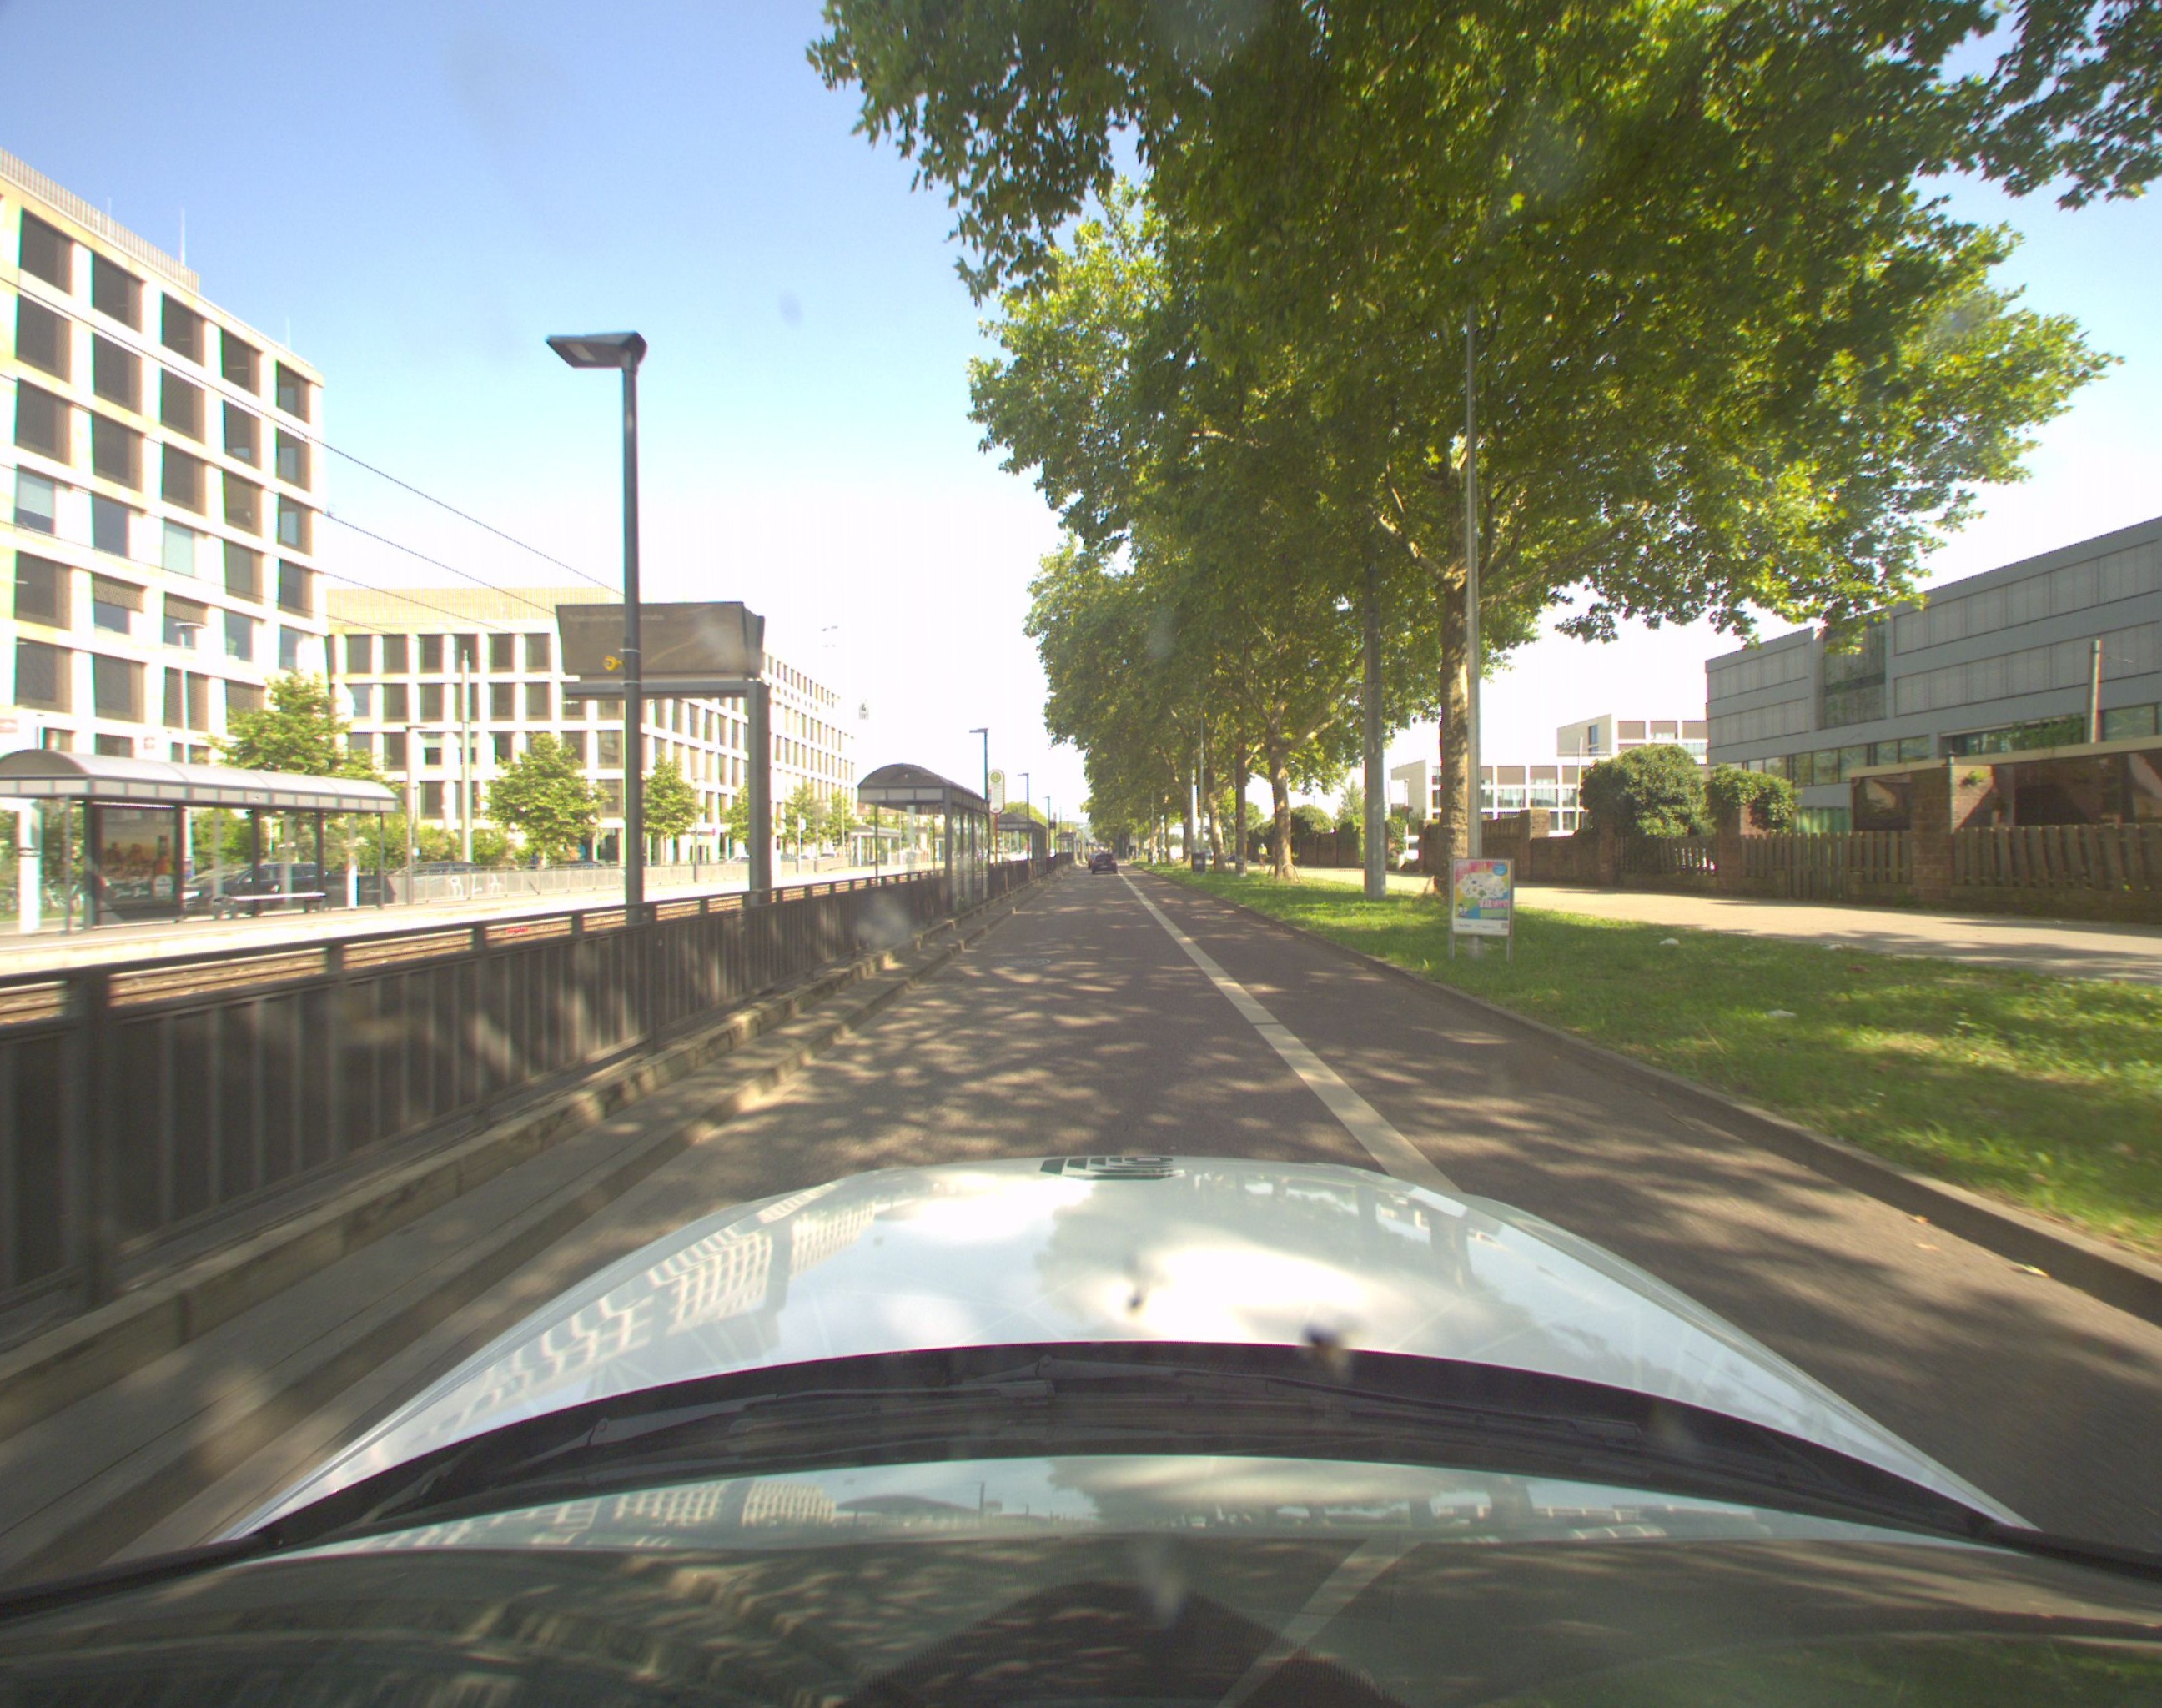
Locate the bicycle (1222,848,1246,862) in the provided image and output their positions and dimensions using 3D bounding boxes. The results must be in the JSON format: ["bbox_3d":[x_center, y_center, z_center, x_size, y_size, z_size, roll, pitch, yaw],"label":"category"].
[{"bbox_3d":[15.950,0.088,84.864,2.236,1.277,0.999,-3,-1,0],"label":"bicycle"}]

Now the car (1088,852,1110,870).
[{"bbox_3d":[1.653,0.626,76.516,1.967,1.537,4.000,-4,0,0],"label":"car"}]

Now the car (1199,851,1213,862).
[{"bbox_3d":[18.504,0.315,120.663,1.602,1.575,3.798,-2,0,2],"label":"car"}]

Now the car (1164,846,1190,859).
[{"bbox_3d":[15.588,-0.242,132.847,4.085,1.918,1.850,-2,0,4],"label":"car"}]

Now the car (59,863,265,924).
[{"bbox_3d":[-24.428,1.002,21.851,1.549,1.428,3.503,-1,0,-1],"label":"car"}]

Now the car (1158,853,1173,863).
[{"bbox_3d":[12.397,0.589,119.543,1.721,1.448,4.552,-2,0,2],"label":"car"}]

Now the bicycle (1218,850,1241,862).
[{"bbox_3d":[15.225,0.188,83.374,2.163,1.076,0.744,-3,0,4],"label":"bicycle"}]

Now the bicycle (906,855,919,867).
[{"bbox_3d":[-15.714,0.663,75.932,0.467,1.147,1.490,-1,0,16],"label":"bicycle"}]

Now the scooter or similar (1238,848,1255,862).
[{"bbox_3d":[15.455,0.107,76.037,1.498,1.191,0.539,-2,-1,5],"label":"scooter or similar"}]

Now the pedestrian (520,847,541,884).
[{"bbox_3d":[-30.961,0.658,45.806,0.561,2.014,0.822,-4,-1,1],"label":"pedestrian"}]

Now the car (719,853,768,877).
[{"bbox_3d":[-24.133,0.759,58.445,1.758,1.574,4.131,-2,0,0],"label":"car"}]

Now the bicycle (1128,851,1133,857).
[{"bbox_3d":[9.031,0.055,148.473,0.609,1.022,2.400,-1,0,-3],"label":"bicycle"}]

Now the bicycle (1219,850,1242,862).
[{"bbox_3d":[15.114,0.242,82.559,2.163,1.076,0.744,-3,0,4],"label":"bicycle"}]

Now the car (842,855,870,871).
[{"bbox_3d":[-23.641,0.893,85.560,1.758,1.603,4.131,-2,0,0],"label":"car"}]

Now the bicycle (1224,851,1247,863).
[{"bbox_3d":[15.254,0.300,80.346,2.167,1.076,0.743,-1,0,-1],"label":"bicycle"}]

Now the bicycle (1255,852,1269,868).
[{"bbox_3d":[11.614,0.401,52.372,0.546,1.007,1.714,-1,0,2],"label":"bicycle"}]

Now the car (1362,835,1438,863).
[{"bbox_3d":[21.807,-0.337,55.773,4.508,1.734,1.909,-2,0,-1],"label":"car"}]

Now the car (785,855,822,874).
[{"bbox_3d":[-24.177,0.919,71.068,1.758,1.574,4.131,-2,0,0],"label":"car"}]

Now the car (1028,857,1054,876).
[{"bbox_3d":[-3.727,1.119,76.611,1.986,1.559,4.002,-4,0,2],"label":"car"}]

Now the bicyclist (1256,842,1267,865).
[{"bbox_3d":[11.611,-0.006,52.331,0.546,1.453,0.842,-1,0,1],"label":"bicyclist"}]

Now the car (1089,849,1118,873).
[{"bbox_3d":[1.542,0.492,56.743,1.901,1.537,4.000,-3,0,1],"label":"car"}]
